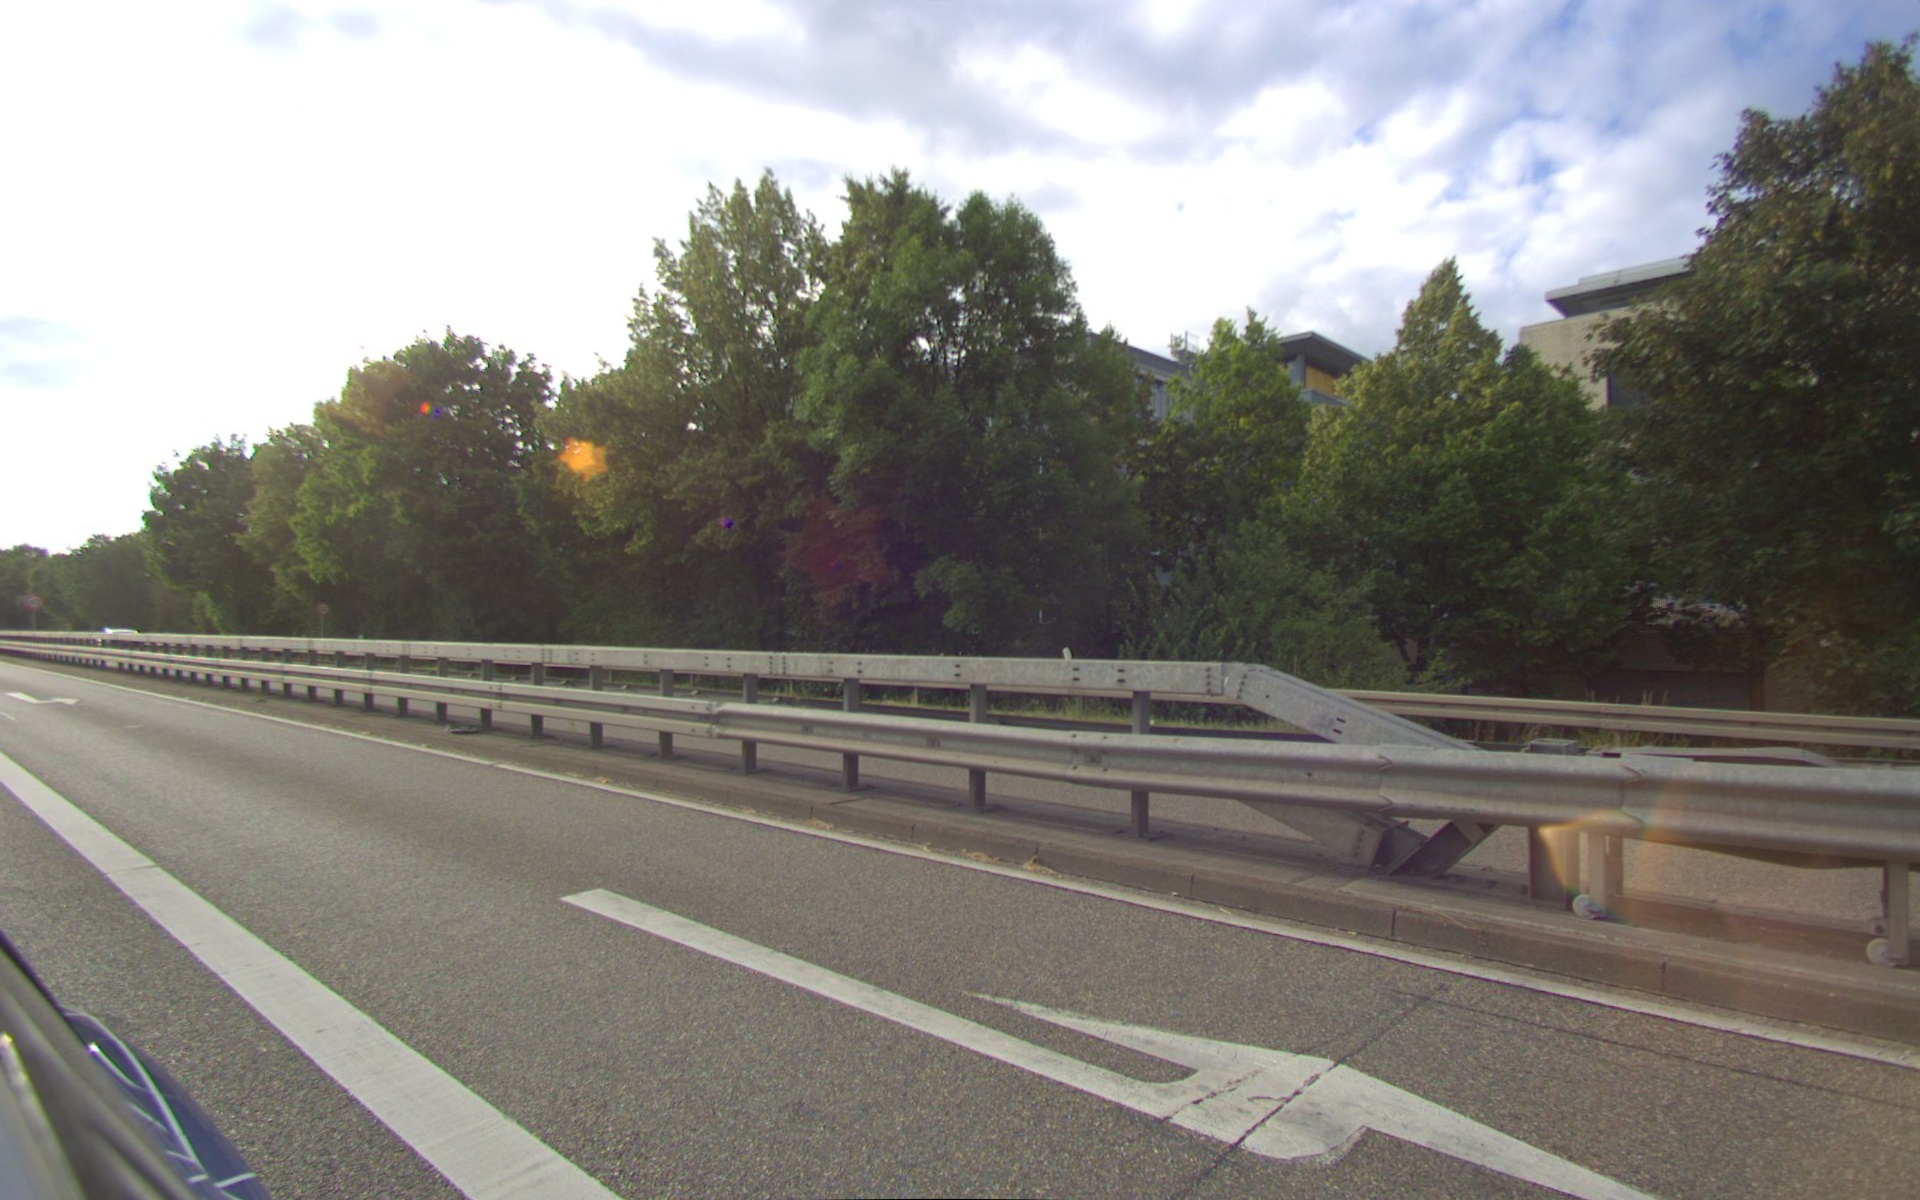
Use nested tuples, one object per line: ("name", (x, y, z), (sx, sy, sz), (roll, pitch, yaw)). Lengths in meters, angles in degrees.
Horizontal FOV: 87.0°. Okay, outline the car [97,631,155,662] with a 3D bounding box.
("car", (-48.729, 2.697, 59.089), (3.997, 1.674, 1.924), (-1, -1, 40))
